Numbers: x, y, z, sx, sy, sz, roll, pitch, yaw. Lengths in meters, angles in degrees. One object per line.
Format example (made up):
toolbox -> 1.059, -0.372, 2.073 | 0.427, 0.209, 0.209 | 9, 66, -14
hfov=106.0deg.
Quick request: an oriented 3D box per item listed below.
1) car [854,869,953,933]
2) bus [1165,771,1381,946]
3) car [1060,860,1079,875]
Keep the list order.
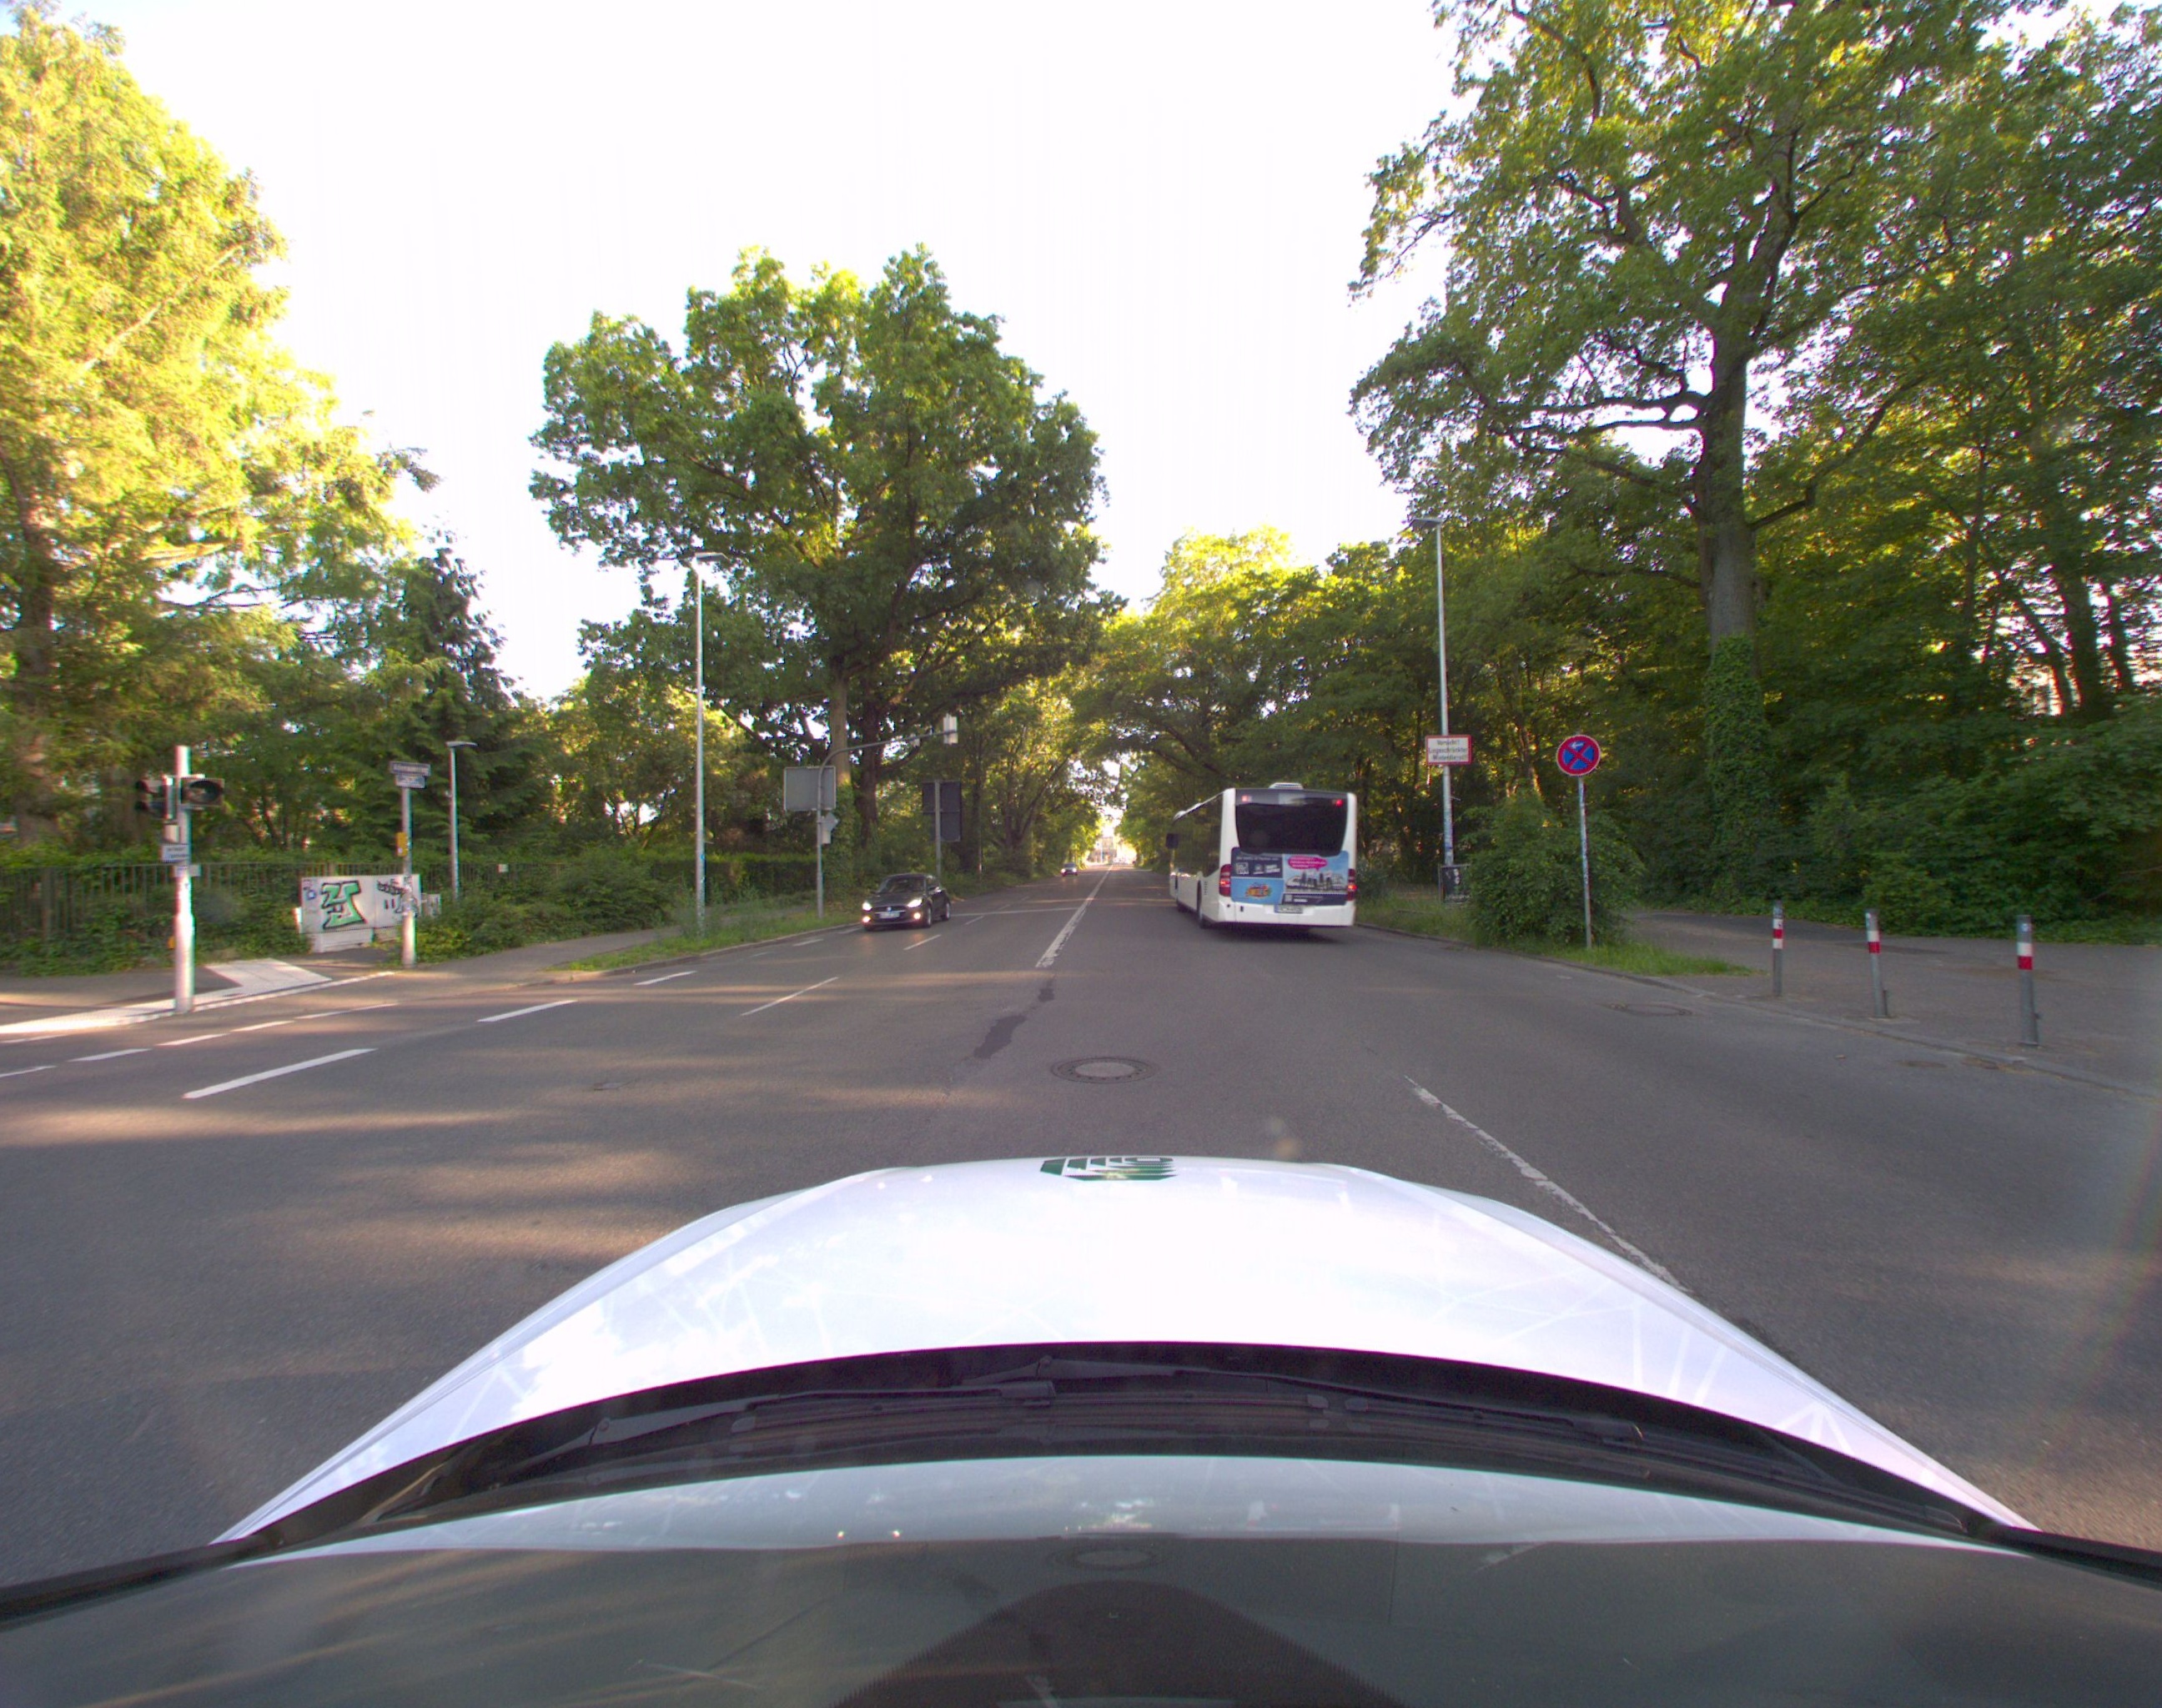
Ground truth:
car -> -4.742, 1.209, 22.238 | 1.701, 1.453, 3.642 | -4, -1, 2
bus -> 4.075, 0.119, 20.735 | 3.000, 3.087, 12.275 | 1, 0, 2
car -> -1.265, 1.496, 91.420 | 1.799, 1.580, 4.321 | -4, -1, 2
